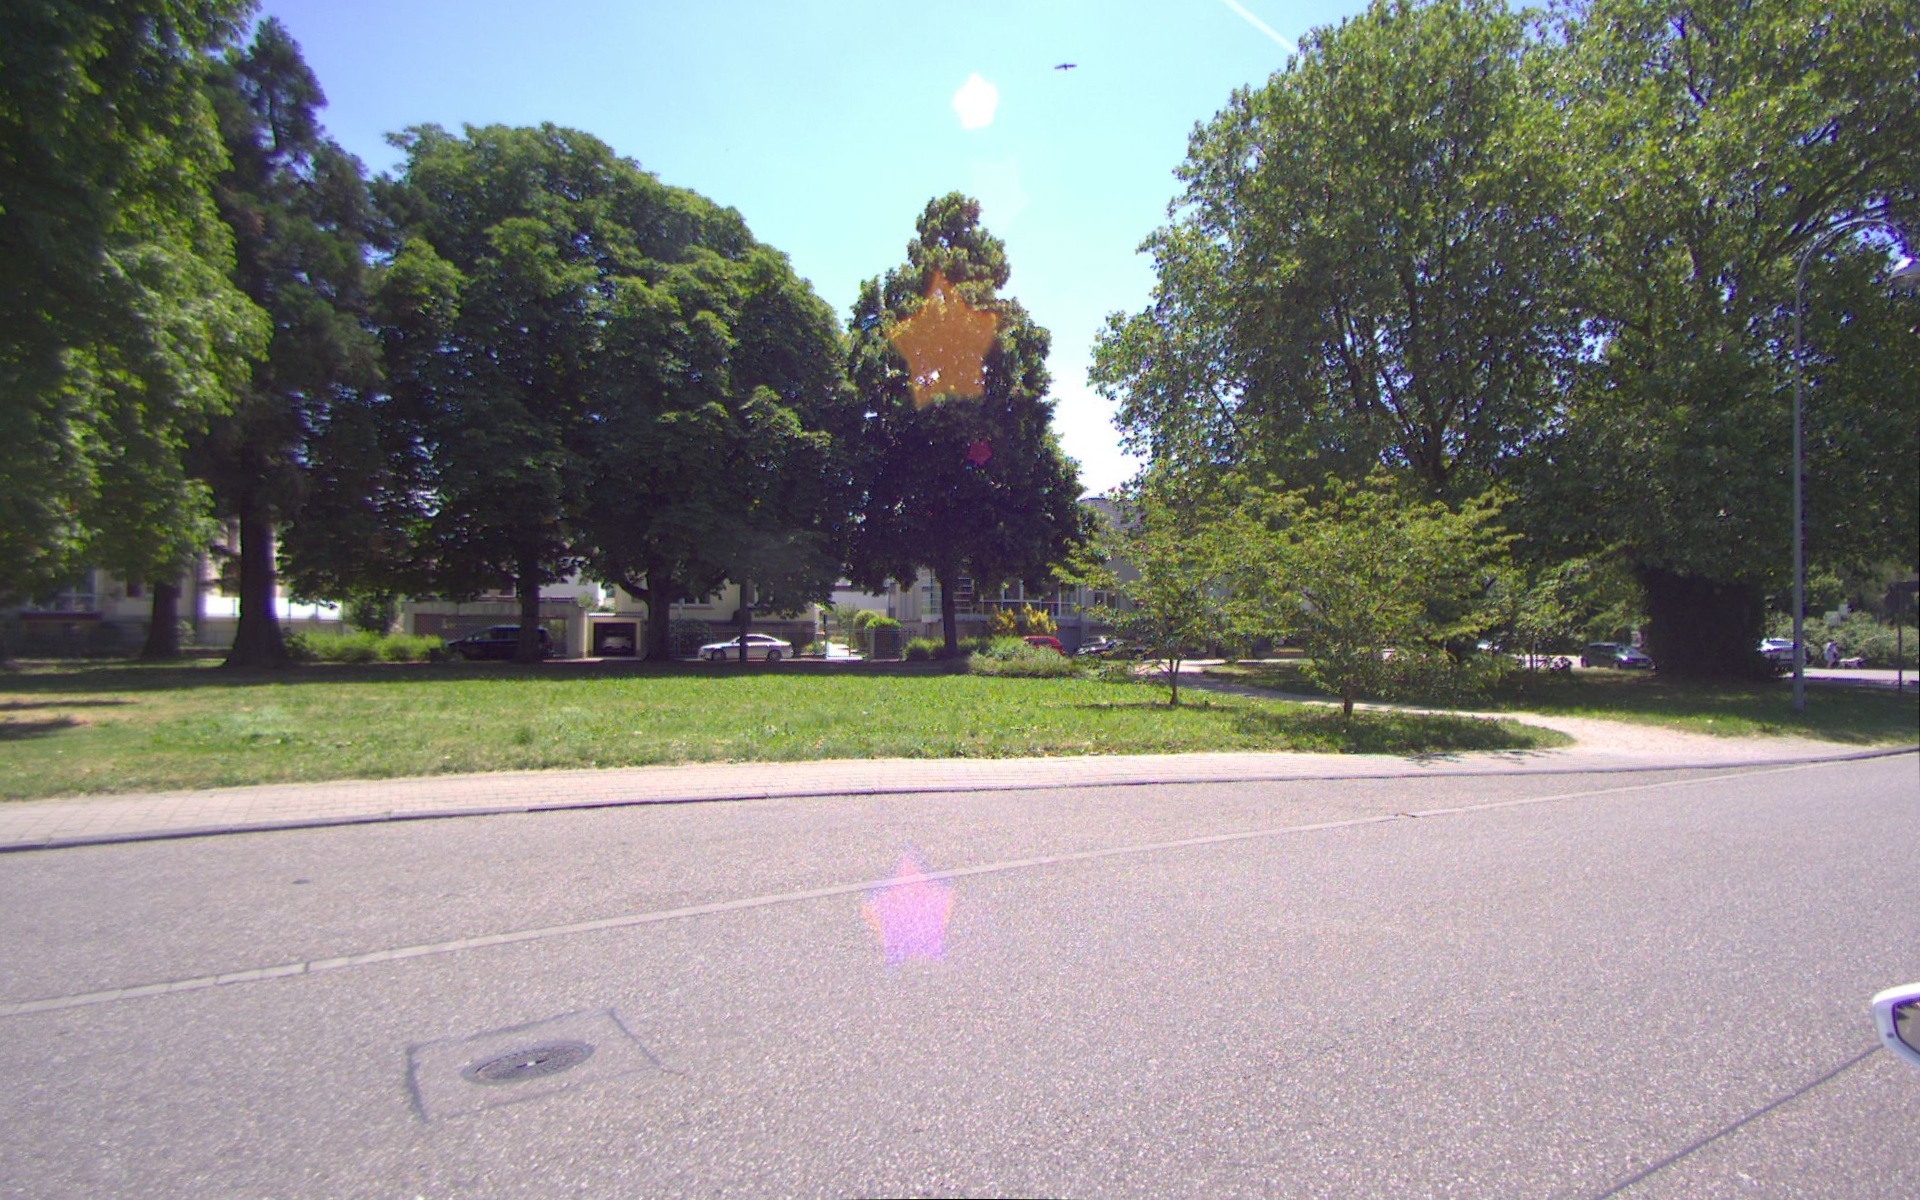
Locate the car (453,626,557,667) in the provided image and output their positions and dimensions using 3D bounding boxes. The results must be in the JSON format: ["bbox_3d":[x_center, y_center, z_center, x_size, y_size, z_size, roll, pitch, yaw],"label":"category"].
[{"bbox_3d":[-20.309,2.078,45.008,3.932,1.802,1.995,1,-2,-14],"label":"car"}]

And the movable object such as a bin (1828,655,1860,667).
[{"bbox_3d":[47.969,3.320,54.494,1.218,0.602,0.517,0,-1,5],"label":"movable object such as a bin"}]

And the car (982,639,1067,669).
[{"bbox_3d":[3.601,3.024,56.540,4.423,1.639,1.998,1,-2,-8],"label":"car"}]

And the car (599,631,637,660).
[{"bbox_3d":[-19.835,2.616,58.343,1.969,1.606,3.984,1,-2,-18],"label":"car"}]

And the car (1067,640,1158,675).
[{"bbox_3d":[8.123,3.081,53.762,4.424,1.802,1.997,1,-1,-9],"label":"car"}]

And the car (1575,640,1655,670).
[{"bbox_3d":[33.761,2.826,51.878,1.613,1.436,4.002,-1,-2,3],"label":"car"}]

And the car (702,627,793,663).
[{"bbox_3d":[-10.995,2.332,51.893,4.432,1.802,1.993,1,-2,-16],"label":"car"}]

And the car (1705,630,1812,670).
[{"bbox_3d":[40.273,2.575,50.832,1.905,1.633,4.476,9,-4,4],"label":"car"}]

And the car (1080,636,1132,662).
[{"bbox_3d":[9.092,3.034,62.726,1.849,1.453,3.990,2,-2,-13],"label":"car"}]

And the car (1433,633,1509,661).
[{"bbox_3d":[33.819,3.136,66.640,2.017,1.770,4.307,-1,-3,-18],"label":"car"}]

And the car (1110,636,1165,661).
[{"bbox_3d":[11.337,3.088,64.525,1.967,1.445,3.988,2,-2,-15],"label":"car"}]

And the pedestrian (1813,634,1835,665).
[{"bbox_3d":[47.645,2.735,55.389,0.605,1.649,0.700,0,0,3],"label":"pedestrian"}]
